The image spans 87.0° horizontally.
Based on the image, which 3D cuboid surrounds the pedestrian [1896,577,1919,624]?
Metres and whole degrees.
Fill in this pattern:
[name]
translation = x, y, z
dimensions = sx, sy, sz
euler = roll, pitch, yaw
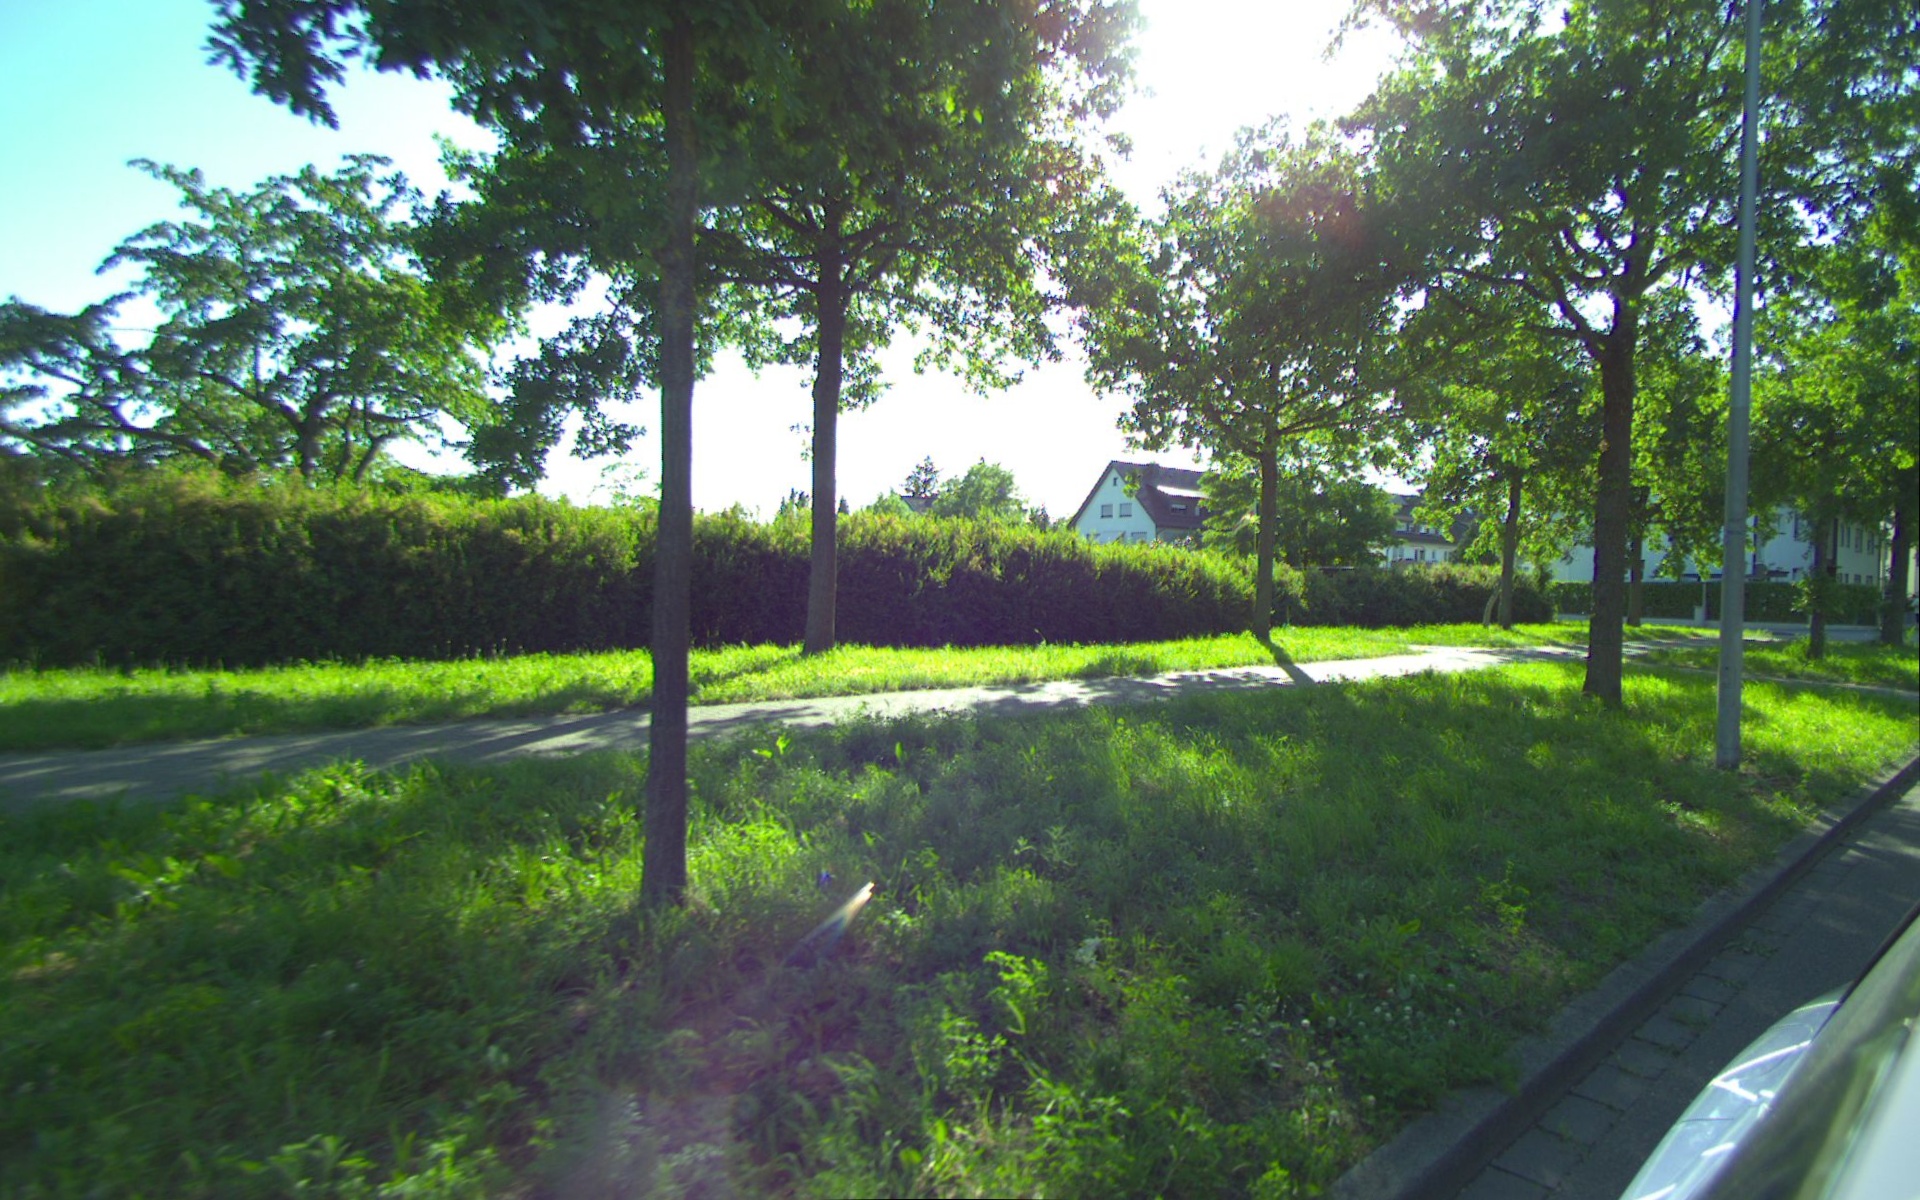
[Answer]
[pedestrian]
translation = 41.902, 0.010, 44.757
dimensions = 0.819, 2.038, 0.610
euler = 1, 1, -39
